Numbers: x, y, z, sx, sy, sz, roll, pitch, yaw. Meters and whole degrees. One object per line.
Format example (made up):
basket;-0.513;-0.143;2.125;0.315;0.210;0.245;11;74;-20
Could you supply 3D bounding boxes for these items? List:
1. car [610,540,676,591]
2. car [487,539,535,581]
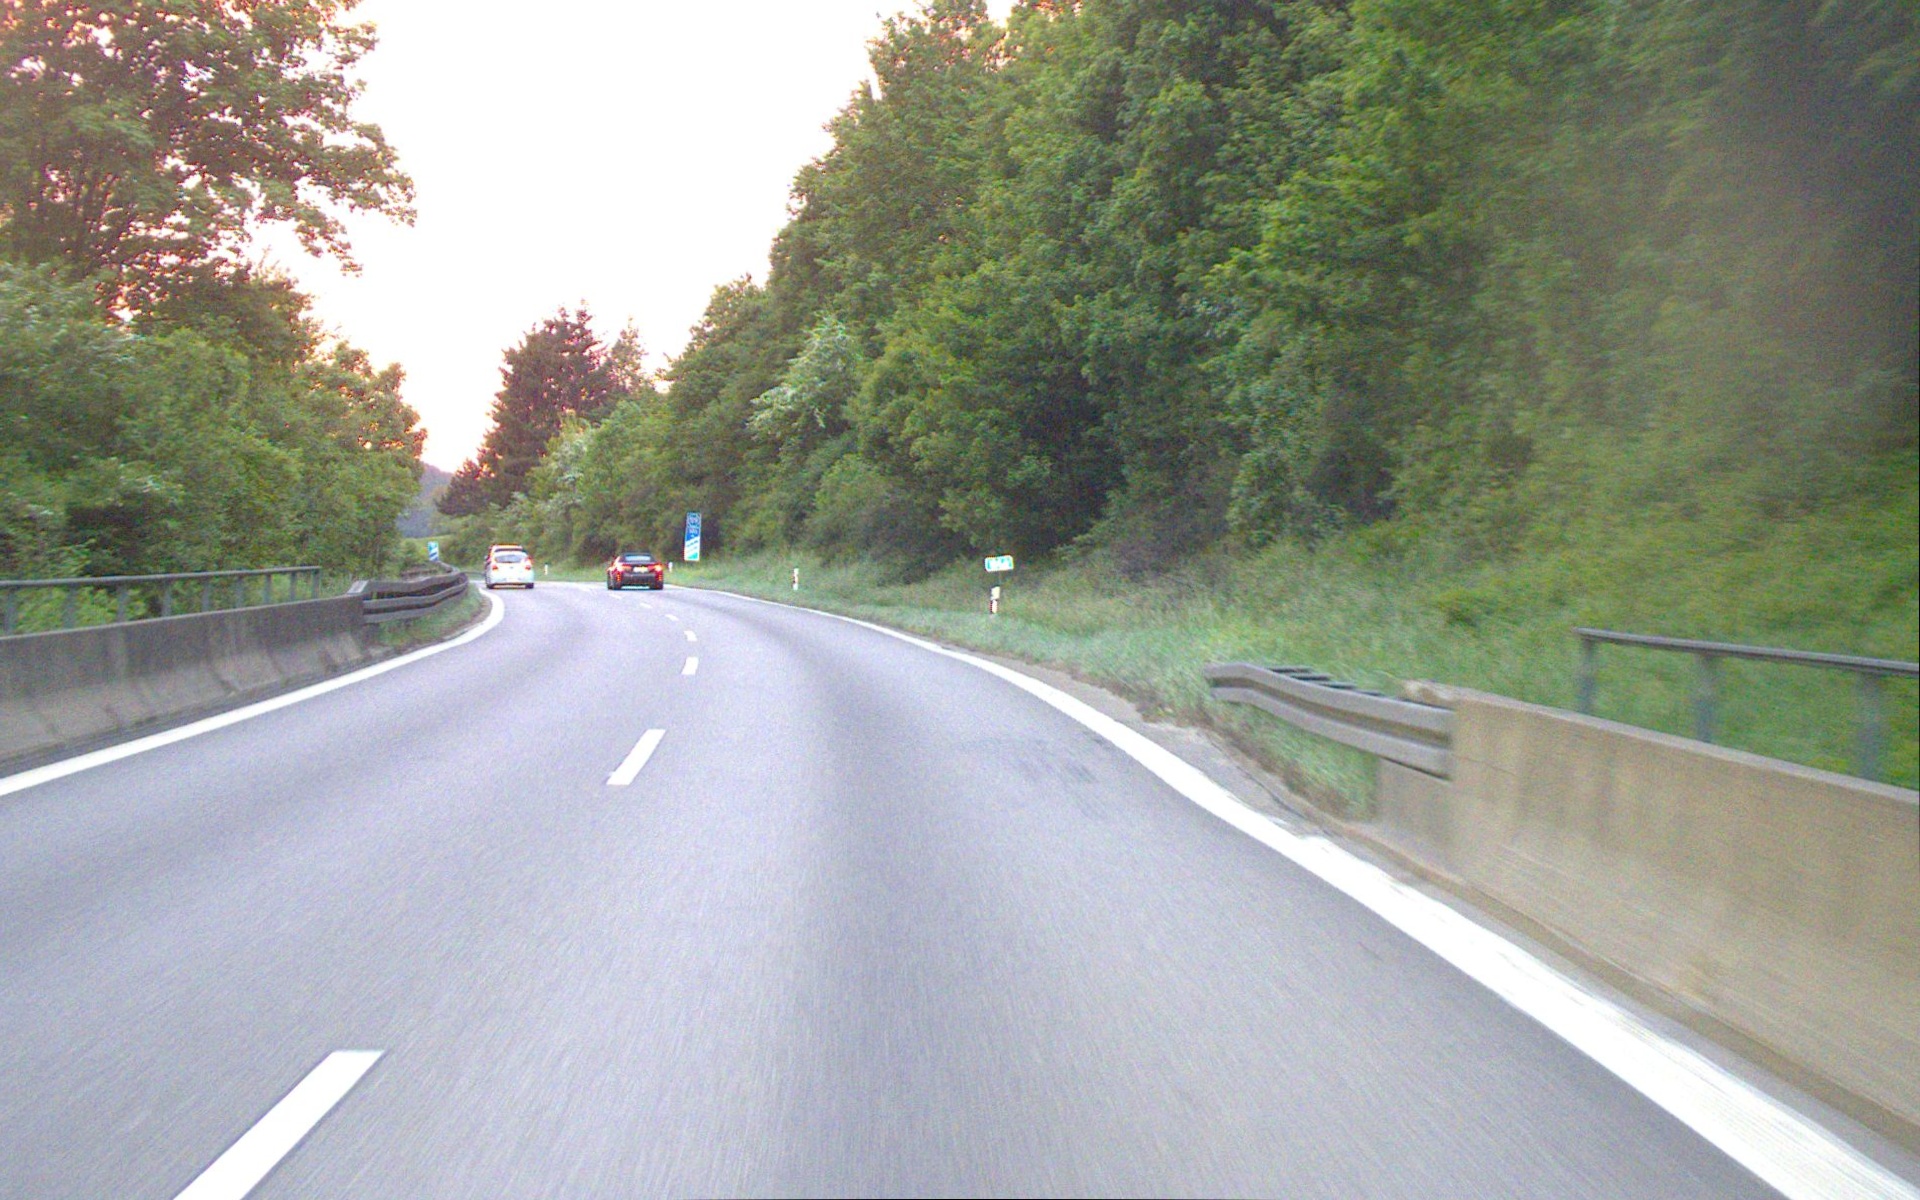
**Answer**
car;-12.132;-1.312;131.411;1.993;1.640;4.000;3;-3;-12
car;-17.768;-1.558;136.223;1.718;1.496;4.000;1;-1;-6
